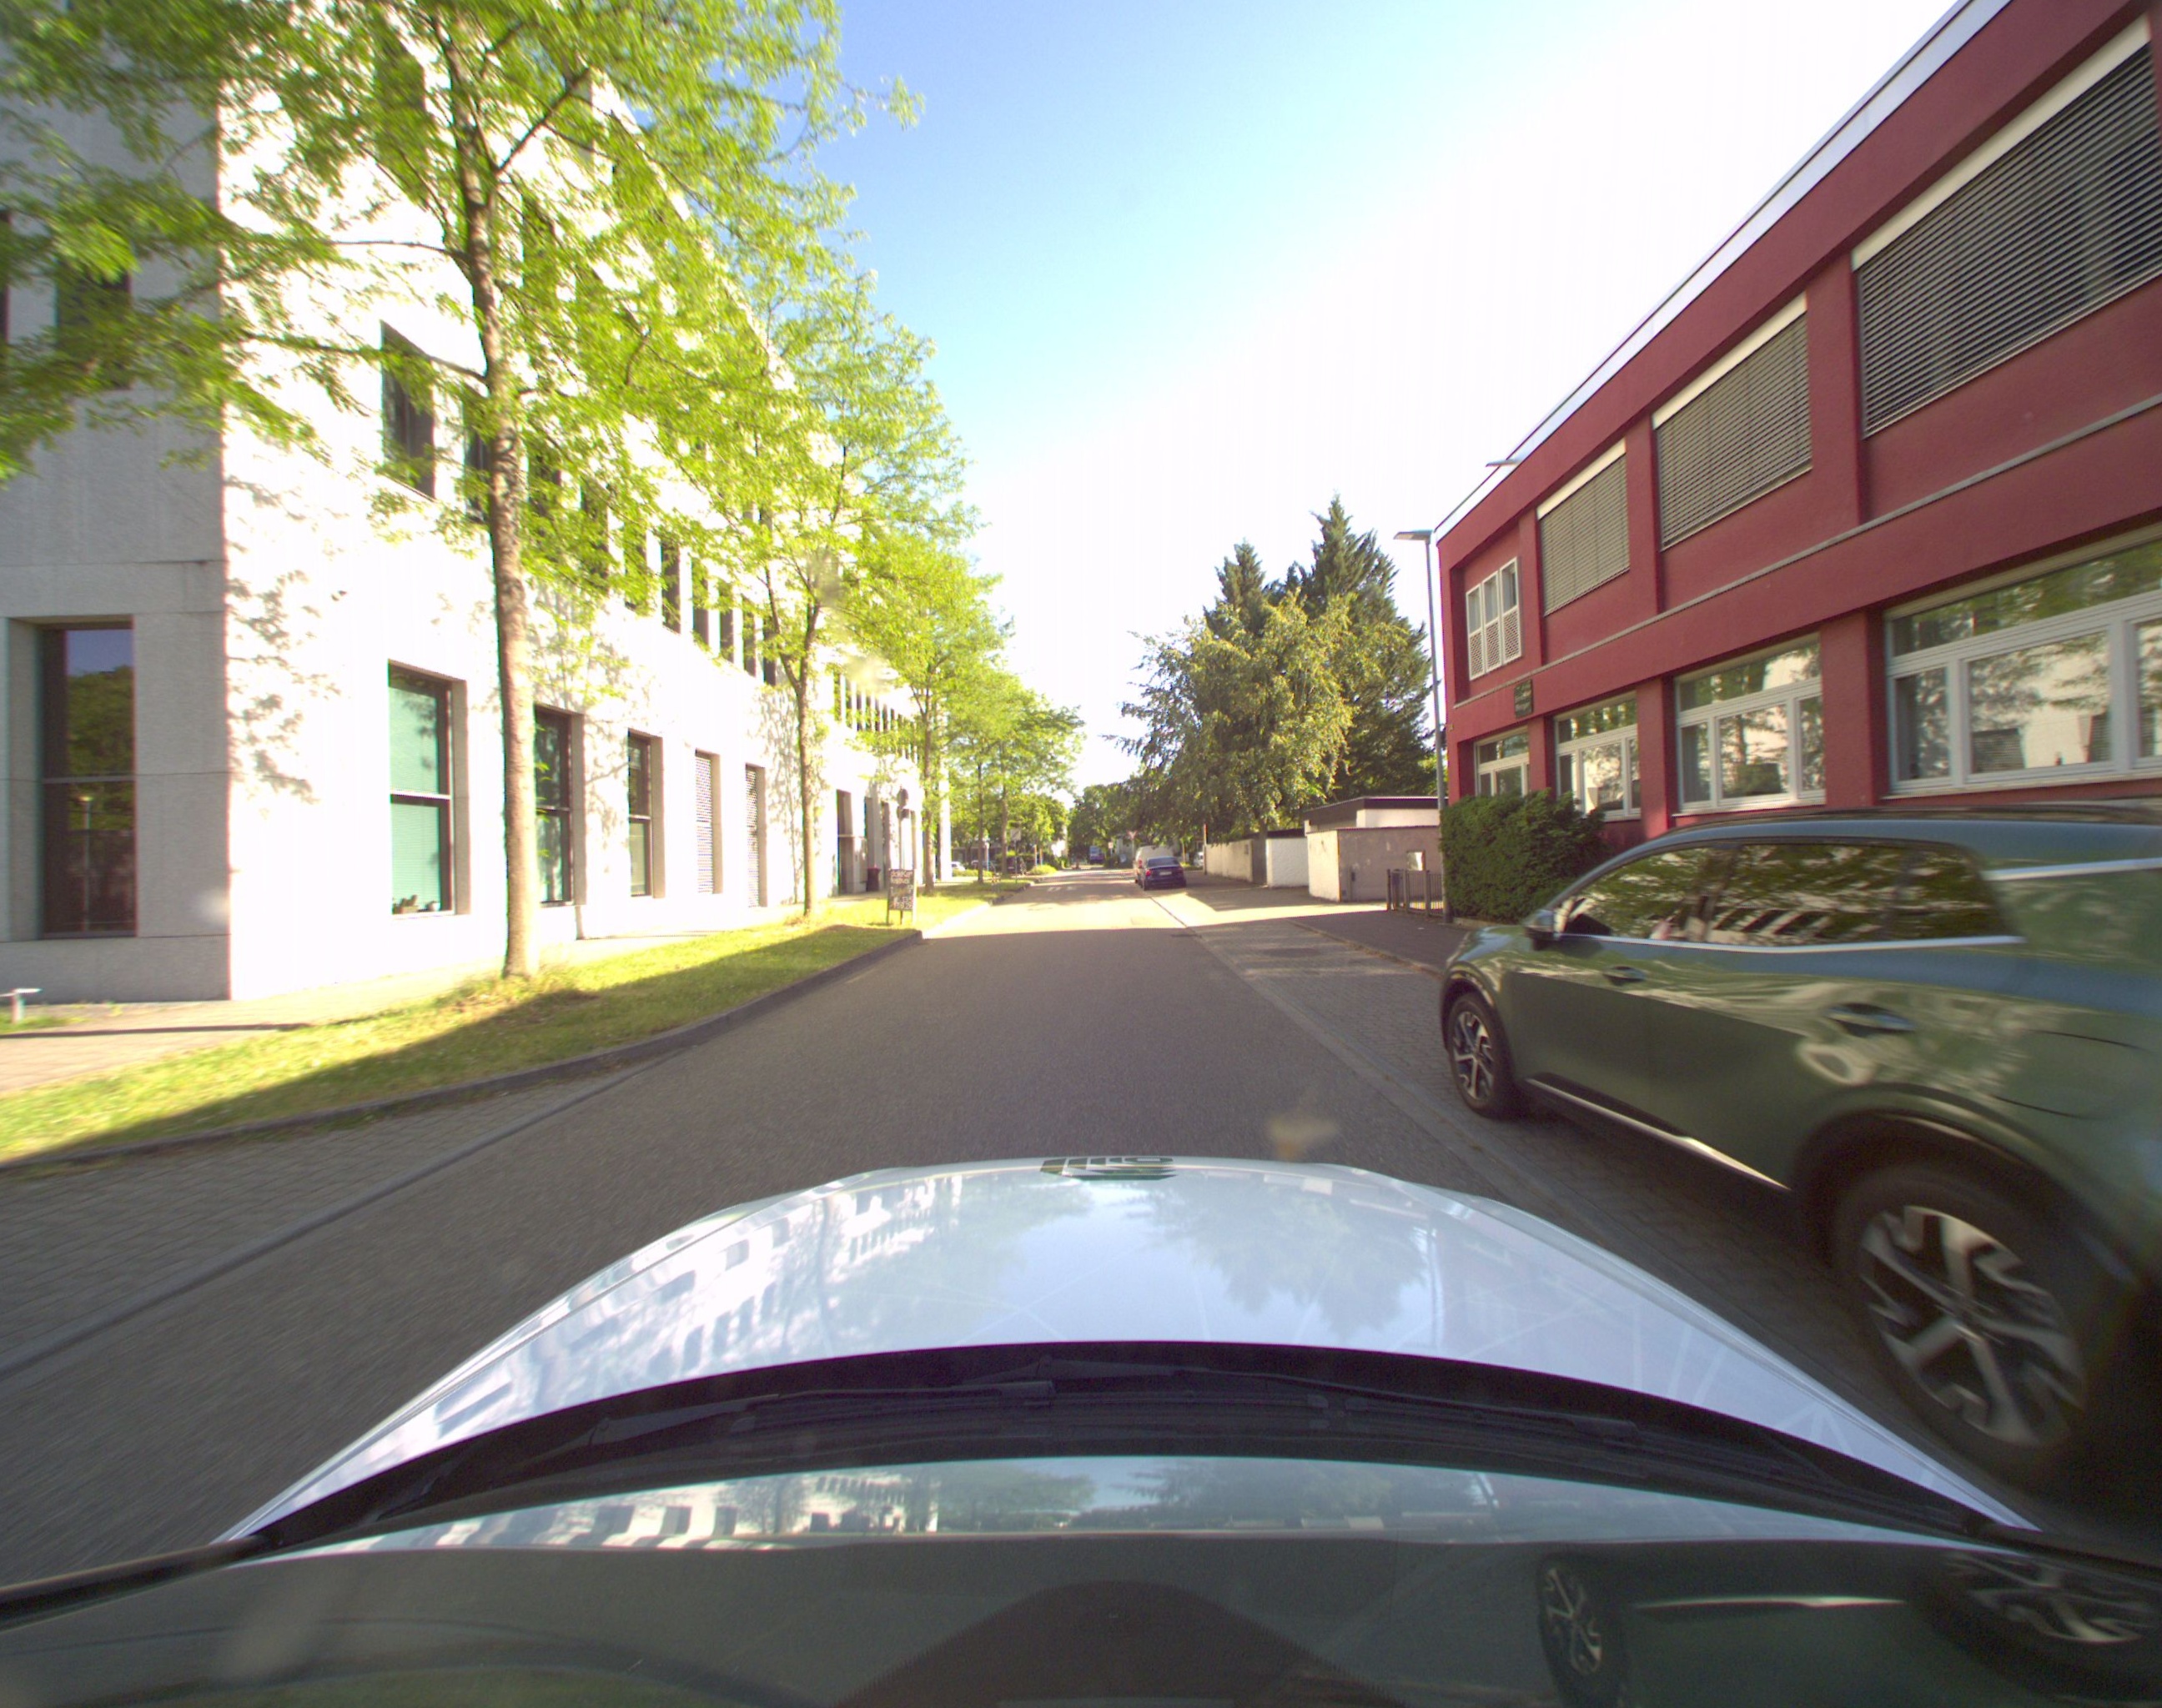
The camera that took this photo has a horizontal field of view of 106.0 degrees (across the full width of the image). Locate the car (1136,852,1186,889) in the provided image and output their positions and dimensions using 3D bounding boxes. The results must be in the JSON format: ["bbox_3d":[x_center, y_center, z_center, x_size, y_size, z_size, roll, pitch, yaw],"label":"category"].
[{"bbox_3d":[3.475,0.696,35.911,1.819,1.423,4.285,-5,0,2],"label":"car"}]

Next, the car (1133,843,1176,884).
[{"bbox_3d":[3.741,0.495,42.178,1.891,1.914,5.150,-2,0,2],"label":"car"}]

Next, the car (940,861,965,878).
[{"bbox_3d":[-12.342,1.492,78.196,1.797,1.436,3.911,-1,1,-1],"label":"car"}]

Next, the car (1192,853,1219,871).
[{"bbox_3d":[11.901,0.724,78.108,1.818,1.598,4.167,-2,1,-1],"label":"car"}]

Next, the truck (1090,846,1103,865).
[{"bbox_3d":[3.343,0.344,172.872,2.750,3.869,9.332,-1,0,2],"label":"truck"}]

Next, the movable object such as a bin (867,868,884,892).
[{"bbox_3d":[-9.128,1.156,36.151,0.591,1.040,0.543,-1,-1,-1],"label":"movable object such as a bin"}]

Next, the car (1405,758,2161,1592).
[{"bbox_3d":[3.085,0.600,3.267,1.891,1.630,4.374,-2,0,2],"label":"car"}]

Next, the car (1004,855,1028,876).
[{"bbox_3d":[-6.236,1.091,78.222,1.867,1.846,4.169,-2,1,1],"label":"car"}]

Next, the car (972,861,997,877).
[{"bbox_3d":[-9.220,1.411,78.086,1.818,1.406,4.167,-2,1,-1],"label":"car"}]
